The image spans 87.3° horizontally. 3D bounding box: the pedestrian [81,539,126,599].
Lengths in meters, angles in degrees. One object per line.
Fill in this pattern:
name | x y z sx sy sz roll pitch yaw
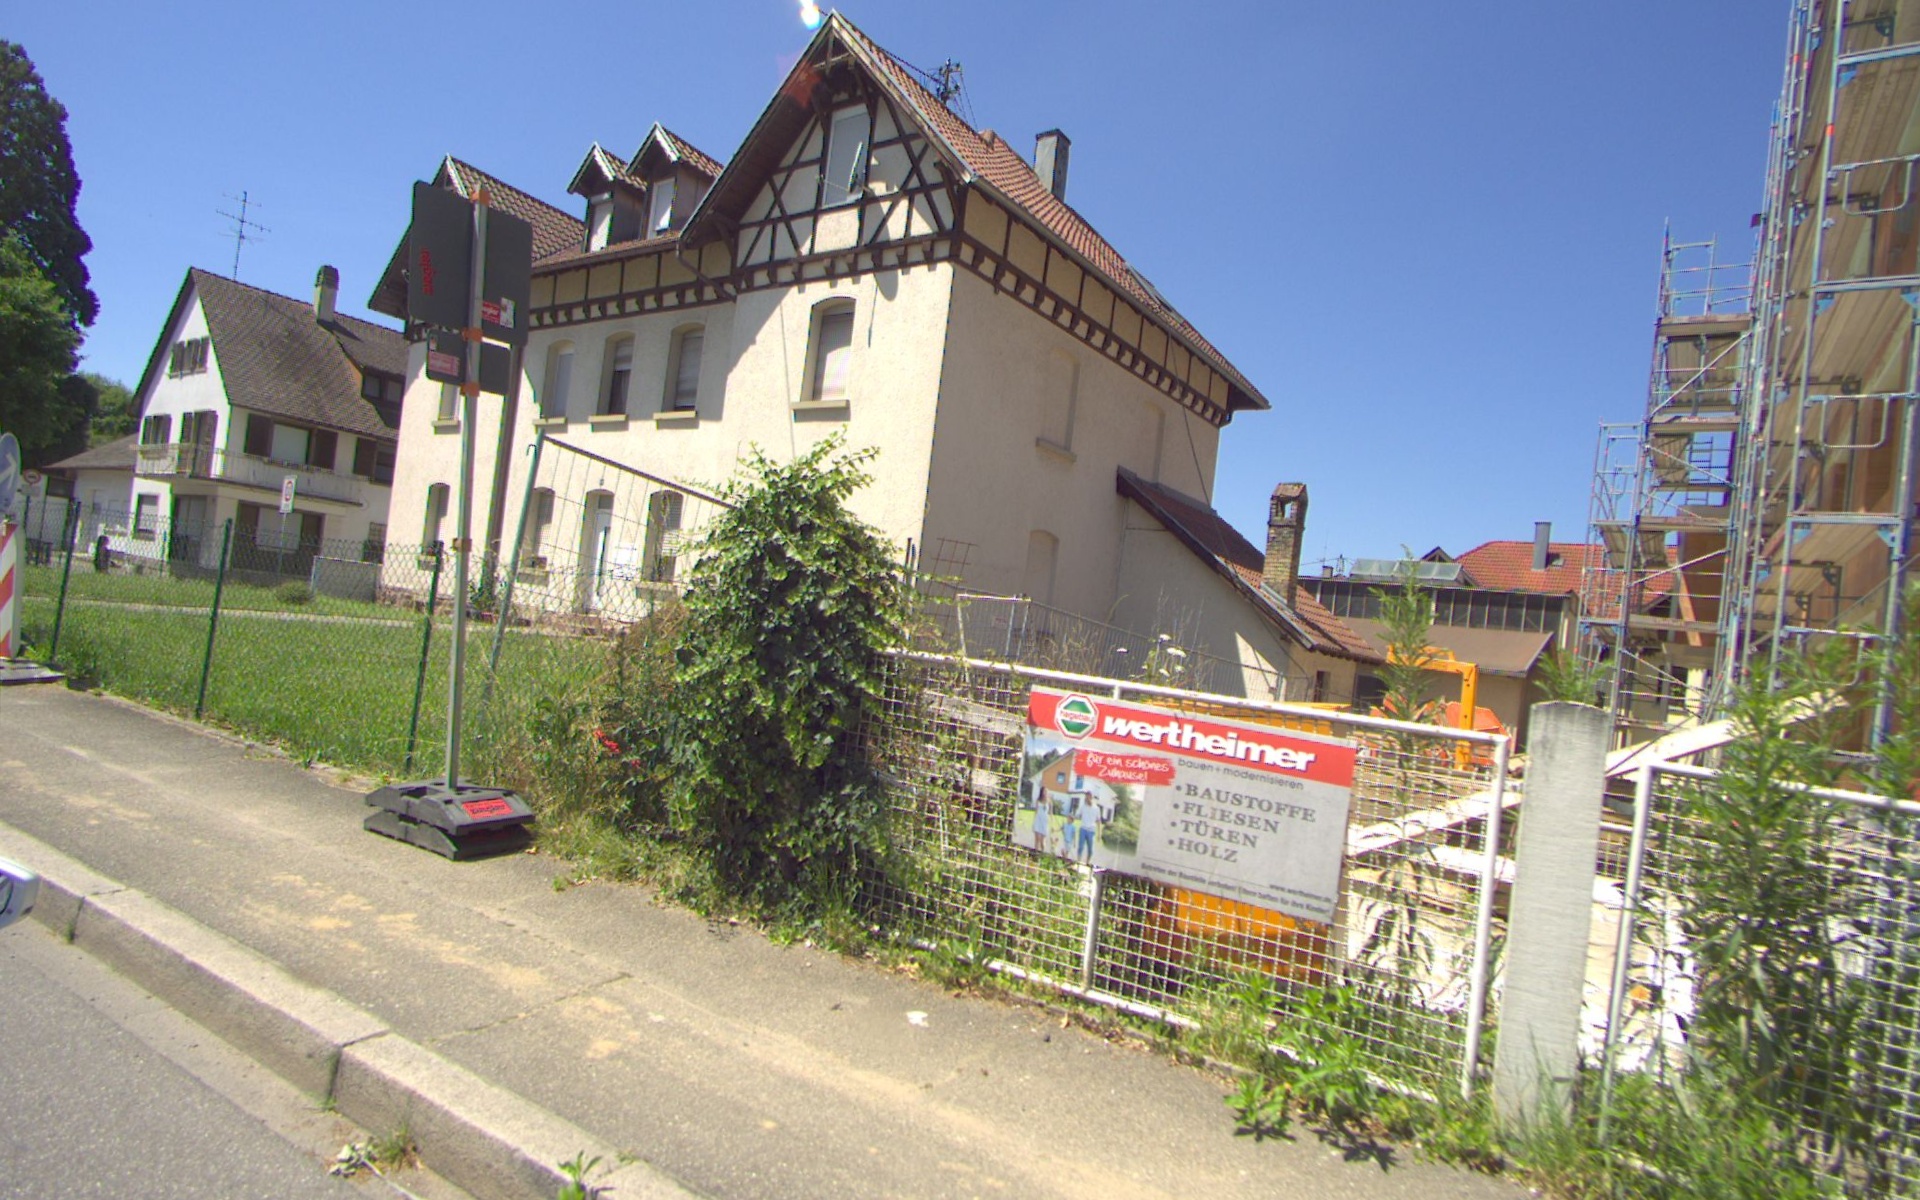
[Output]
pedestrian | -24.684 -0.895 28.982 0.563 1.619 0.697 7 0 28
